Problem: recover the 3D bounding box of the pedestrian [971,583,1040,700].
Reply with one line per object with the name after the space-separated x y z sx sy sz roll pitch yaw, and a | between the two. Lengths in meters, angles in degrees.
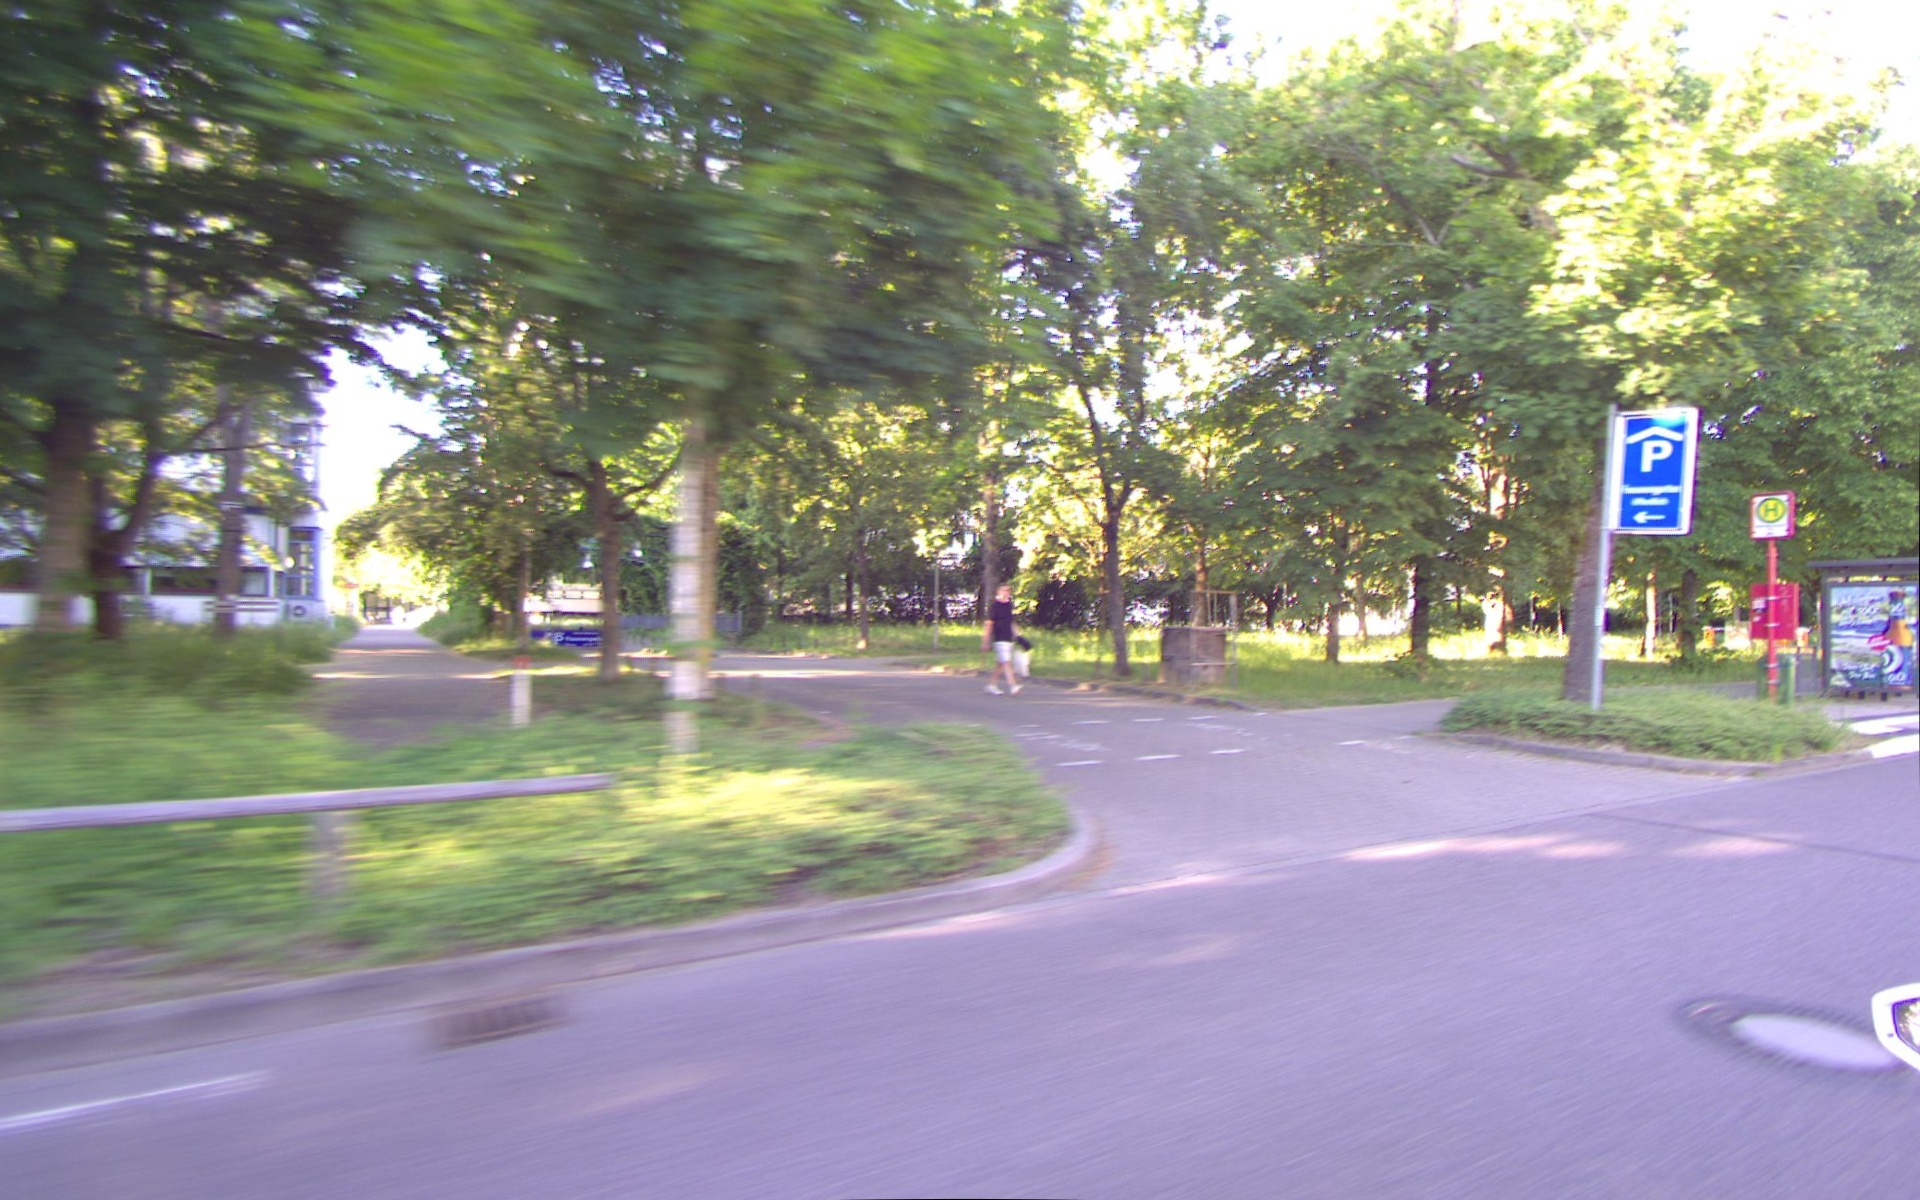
0.727 0.654 16.313 0.713 1.845 0.897 1 0 -33 | pedestrian
